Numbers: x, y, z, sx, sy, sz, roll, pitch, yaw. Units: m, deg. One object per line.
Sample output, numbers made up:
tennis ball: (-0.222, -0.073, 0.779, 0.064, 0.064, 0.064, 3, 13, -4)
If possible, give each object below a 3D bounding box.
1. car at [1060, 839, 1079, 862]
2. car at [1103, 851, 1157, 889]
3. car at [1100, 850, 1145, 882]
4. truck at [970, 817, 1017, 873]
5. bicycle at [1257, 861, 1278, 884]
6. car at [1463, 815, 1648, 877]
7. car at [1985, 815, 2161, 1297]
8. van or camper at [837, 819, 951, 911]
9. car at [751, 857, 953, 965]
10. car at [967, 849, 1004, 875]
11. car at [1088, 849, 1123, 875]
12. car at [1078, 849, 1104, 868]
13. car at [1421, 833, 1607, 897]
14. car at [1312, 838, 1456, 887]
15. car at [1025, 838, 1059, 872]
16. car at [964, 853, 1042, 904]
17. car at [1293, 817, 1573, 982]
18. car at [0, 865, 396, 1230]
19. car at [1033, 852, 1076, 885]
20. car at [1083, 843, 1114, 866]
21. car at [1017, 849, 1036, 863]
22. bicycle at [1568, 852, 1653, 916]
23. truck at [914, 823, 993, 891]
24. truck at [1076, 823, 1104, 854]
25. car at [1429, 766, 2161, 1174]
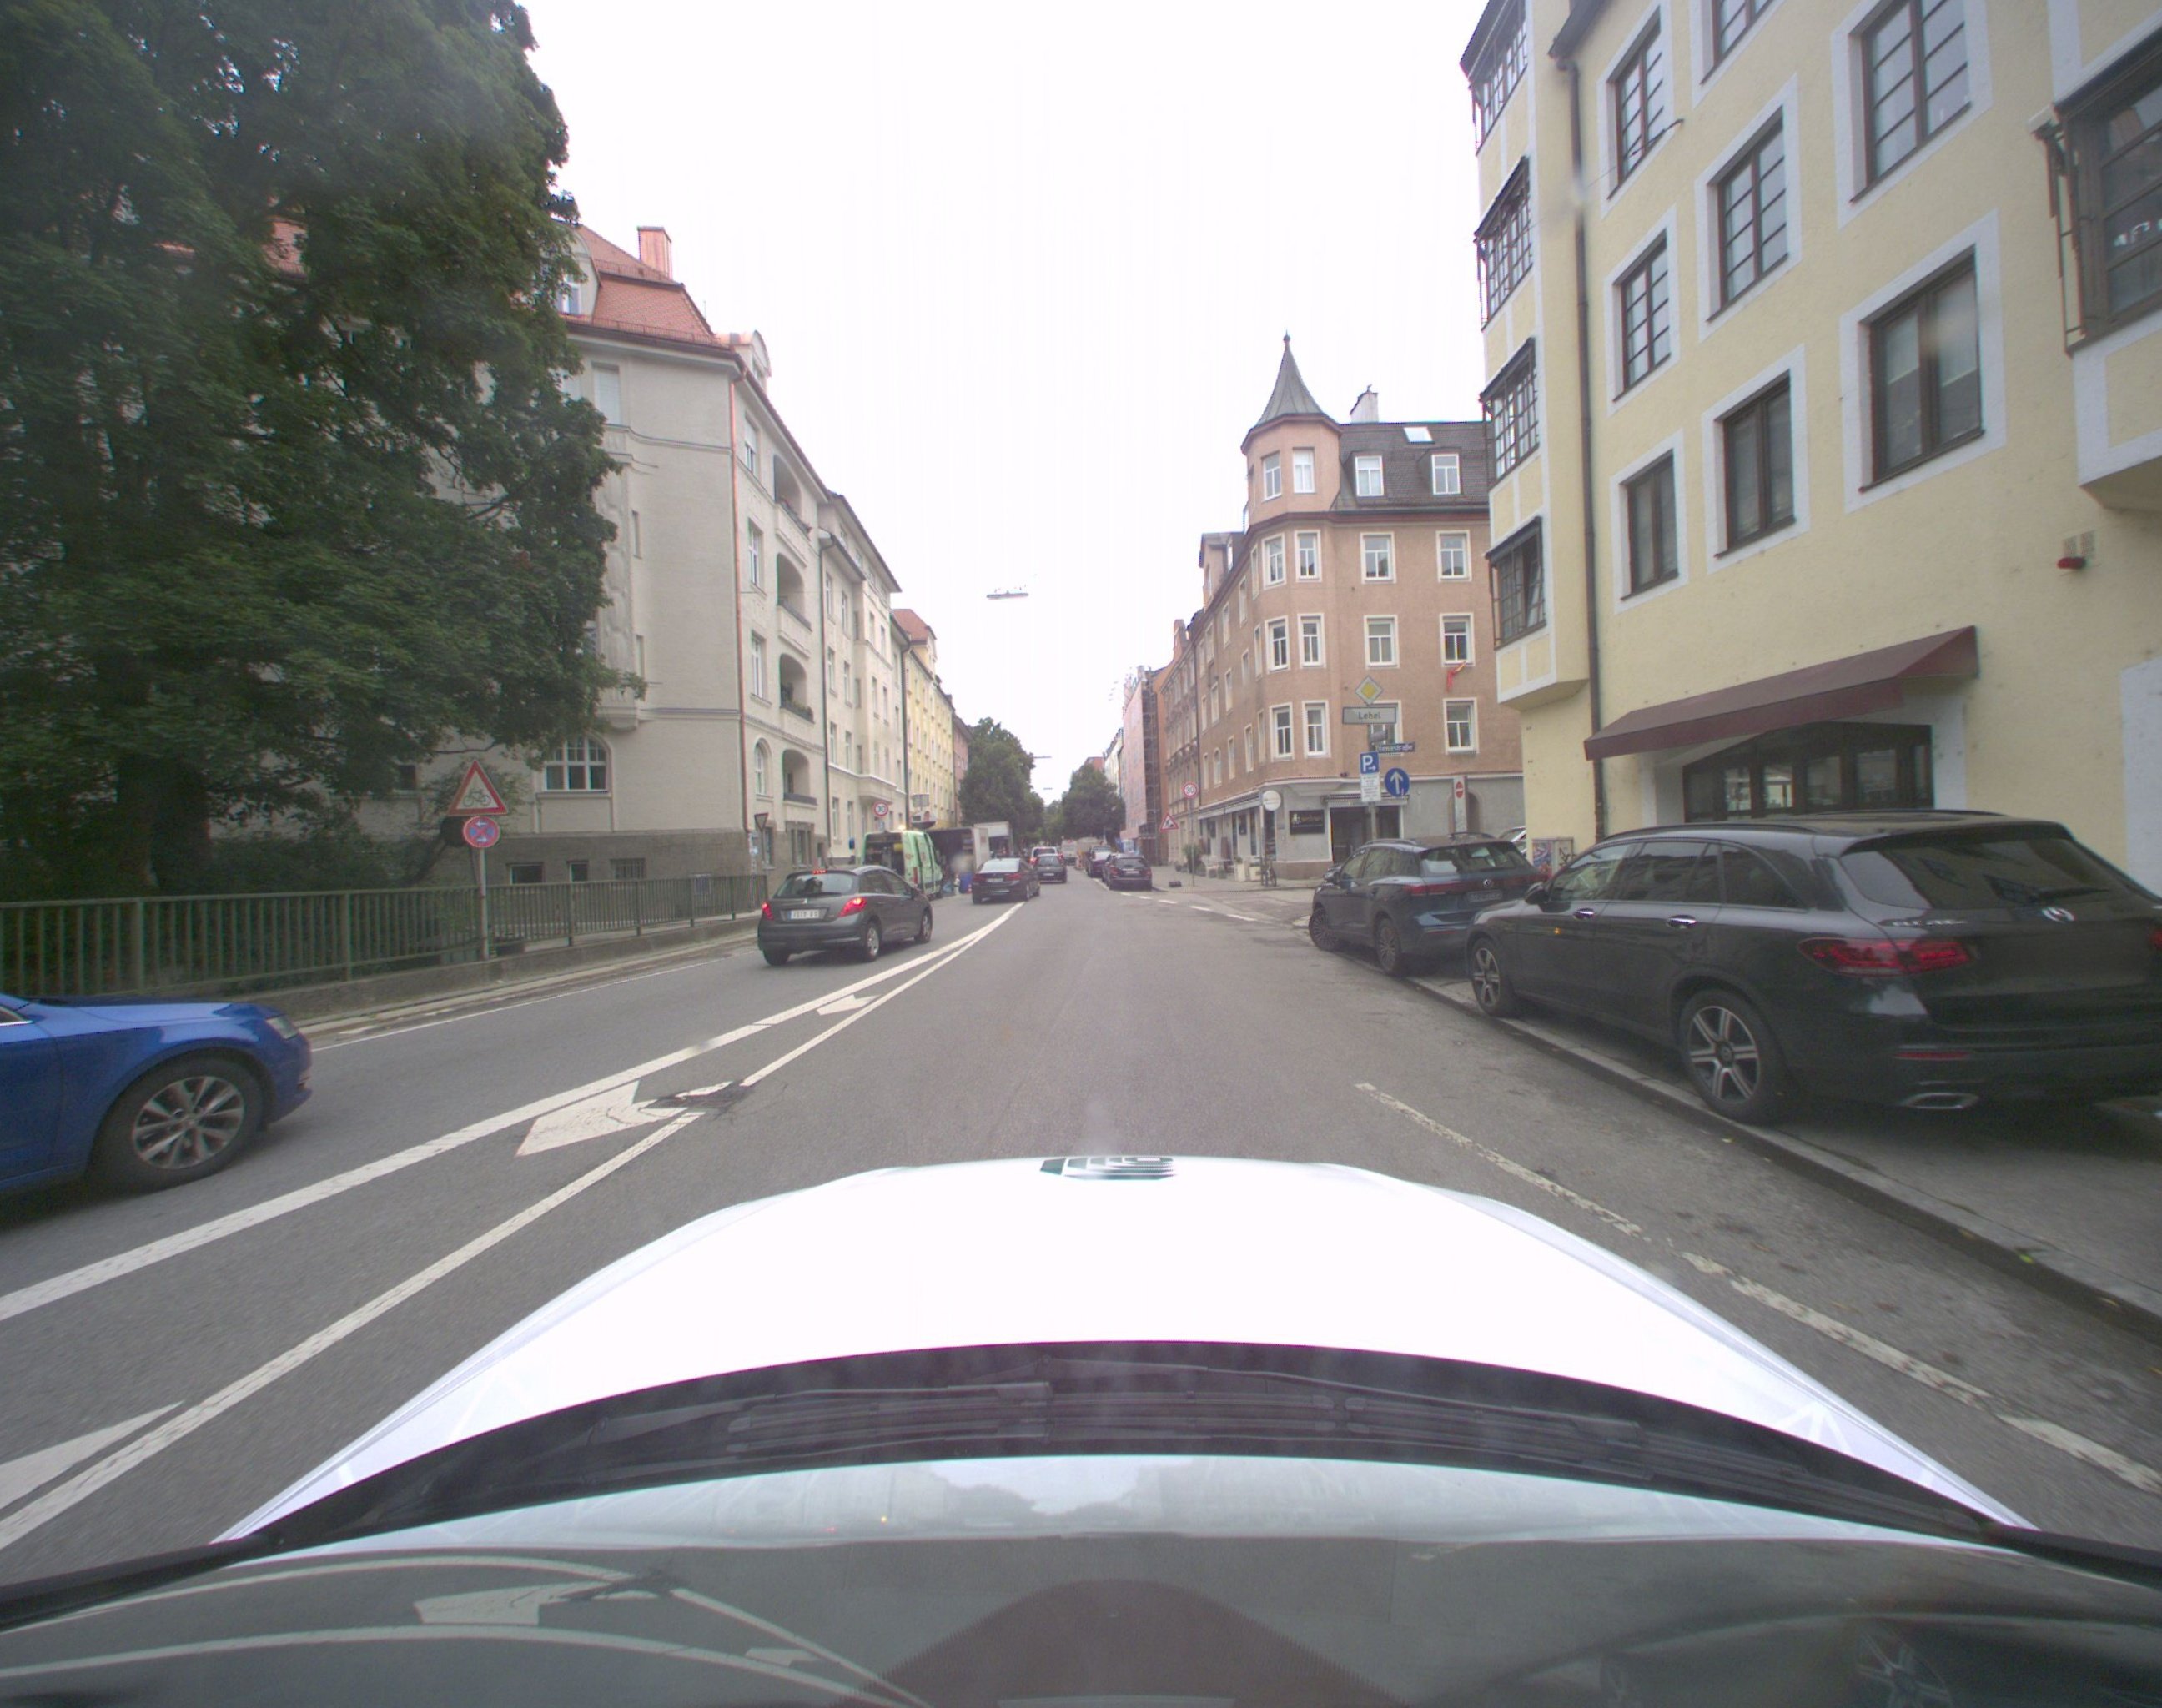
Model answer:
car: (-1.261, -0.387, 89.679, 1.933, 2.480, 4.783, -2, 0, 0)
car: (2.008, 0.630, 34.321, 1.839, 1.429, 4.180, 1, 1, -2)
car: (1.978, 0.558, 40.161, 1.839, 1.429, 4.137, 1, 1, -2)
truck: (-6.622, -0.666, 62.734, 3.005, 3.951, 6.988, -2, 0, -3)
bicycle: (6.824, 0.662, 29.833, 0.455, 0.805, 1.327, -2, 0, 1)
car: (16.193, -0.249, 28.000, 5.113, 1.854, 2.099, -2, -2, -1)
car: (4.080, 0.601, 1.037, 1.748, 1.496, 3.829, -4, 0, 5)
van or camper: (-6.498, 0.299, 29.220, 2.593, 2.840, 6.184, -2, 1, -1)
car: (-3.652, 0.835, 13.829, 1.749, 1.461, 4.083, -3, 0, 8)
car: (-6.428, 0.532, 55.209, 1.984, 1.610, 4.139, -2, 0, -1)
car: (1.439, 0.433, 49.124, 1.839, 1.429, 4.303, 1, 1, -2)
car: (0.812, 0.337, 66.574, 1.984, 1.429, 4.139, -2, 1, -1)
car: (11.417, 0.256, 21.670, 4.023, 1.456, 1.747, -2, 2, 1)
car: (10.274, 0.298, 27.834, 4.158, 1.429, 1.924, -2, -2, -1)
car: (-2.500, 0.029, 53.638, 1.984, 2.075, 4.139, -2, 1, -1)
car: (-2.591, 0.773, 28.262, 1.982, 1.429, 4.909, -2, 1, 3)
car: (4.418, 0.493, 11.120, 1.812, 1.679, 4.510, -4, 0, 0)
car: (-5.549, 0.861, 2.735, 1.975, 1.454, 4.748, -3, 0, 10)
car: (-1.270, 0.669, 41.045, 1.984, 1.429, 4.139, -2, 1, -1)
car: (1.187, -0.023, 56.653, 1.984, 1.429, 4.139, -2, 1, -1)
car: (-5.983, 0.232, 89.653, 1.934, 1.448, 3.863, -2, 0, -2)
bicycle: (8.718, 0.468, 13.476, 0.270, 0.977, 1.684, -1, 0, 0)
truck: (-6.005, 0.063, 39.573, 2.766, 2.872, 7.197, -2, 1, -2)
truck: (0.855, -1.546, 82.666, 2.485, 2.973, 5.324, -2, 0, -2)
car: (4.337, 0.480, 5.858, 1.749, 1.679, 4.710, -4, 0, 3)
